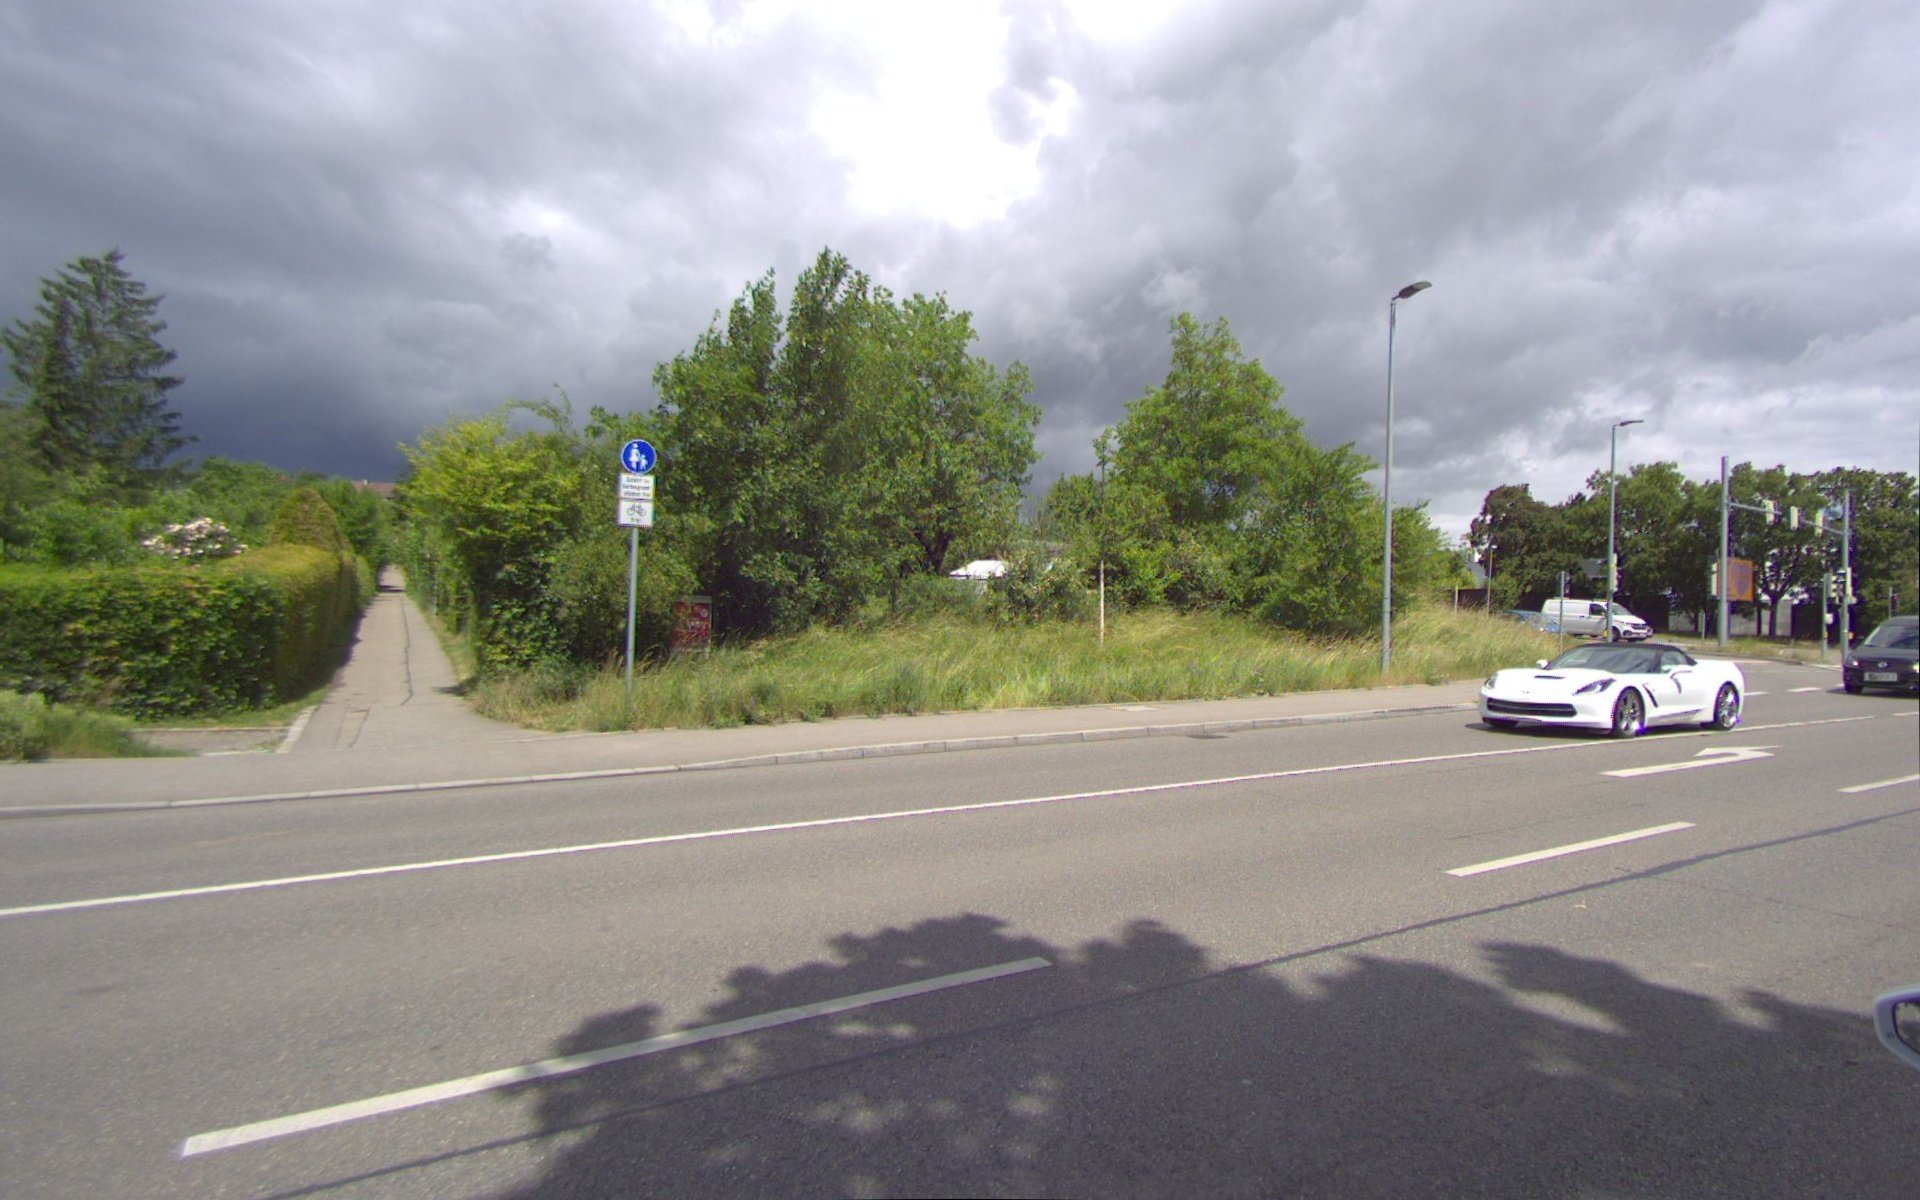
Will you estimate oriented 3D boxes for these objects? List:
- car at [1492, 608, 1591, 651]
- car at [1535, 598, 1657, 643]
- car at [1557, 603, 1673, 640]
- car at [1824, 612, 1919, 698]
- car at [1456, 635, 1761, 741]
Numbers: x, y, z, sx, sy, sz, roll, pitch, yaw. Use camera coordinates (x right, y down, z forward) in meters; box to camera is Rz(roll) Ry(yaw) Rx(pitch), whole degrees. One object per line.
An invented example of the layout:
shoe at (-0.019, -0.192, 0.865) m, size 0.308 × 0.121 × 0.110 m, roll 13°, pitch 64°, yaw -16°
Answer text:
car at (26.877, 1.316, 46.617) m, size 1.873 × 1.659 × 4.447 m, roll 3°, pitch 1°, yaw -1°
car at (32.396, 0.999, 51.314) m, size 1.888 × 1.963 × 4.932 m, roll 2°, pitch 2°, yaw -29°
car at (35.361, 1.145, 54.363) m, size 1.888 × 1.657 × 4.932 m, roll 2°, pitch 2°, yaw -29°
car at (22.261, 1.234, 23.289) m, size 4.751 × 1.802 × 1.778 m, roll 1°, pitch 0°, yaw -28°
car at (9.450, 1.195, 14.558) m, size 4.555 × 1.308 × 1.896 m, roll 2°, pitch -2°, yaw -30°
